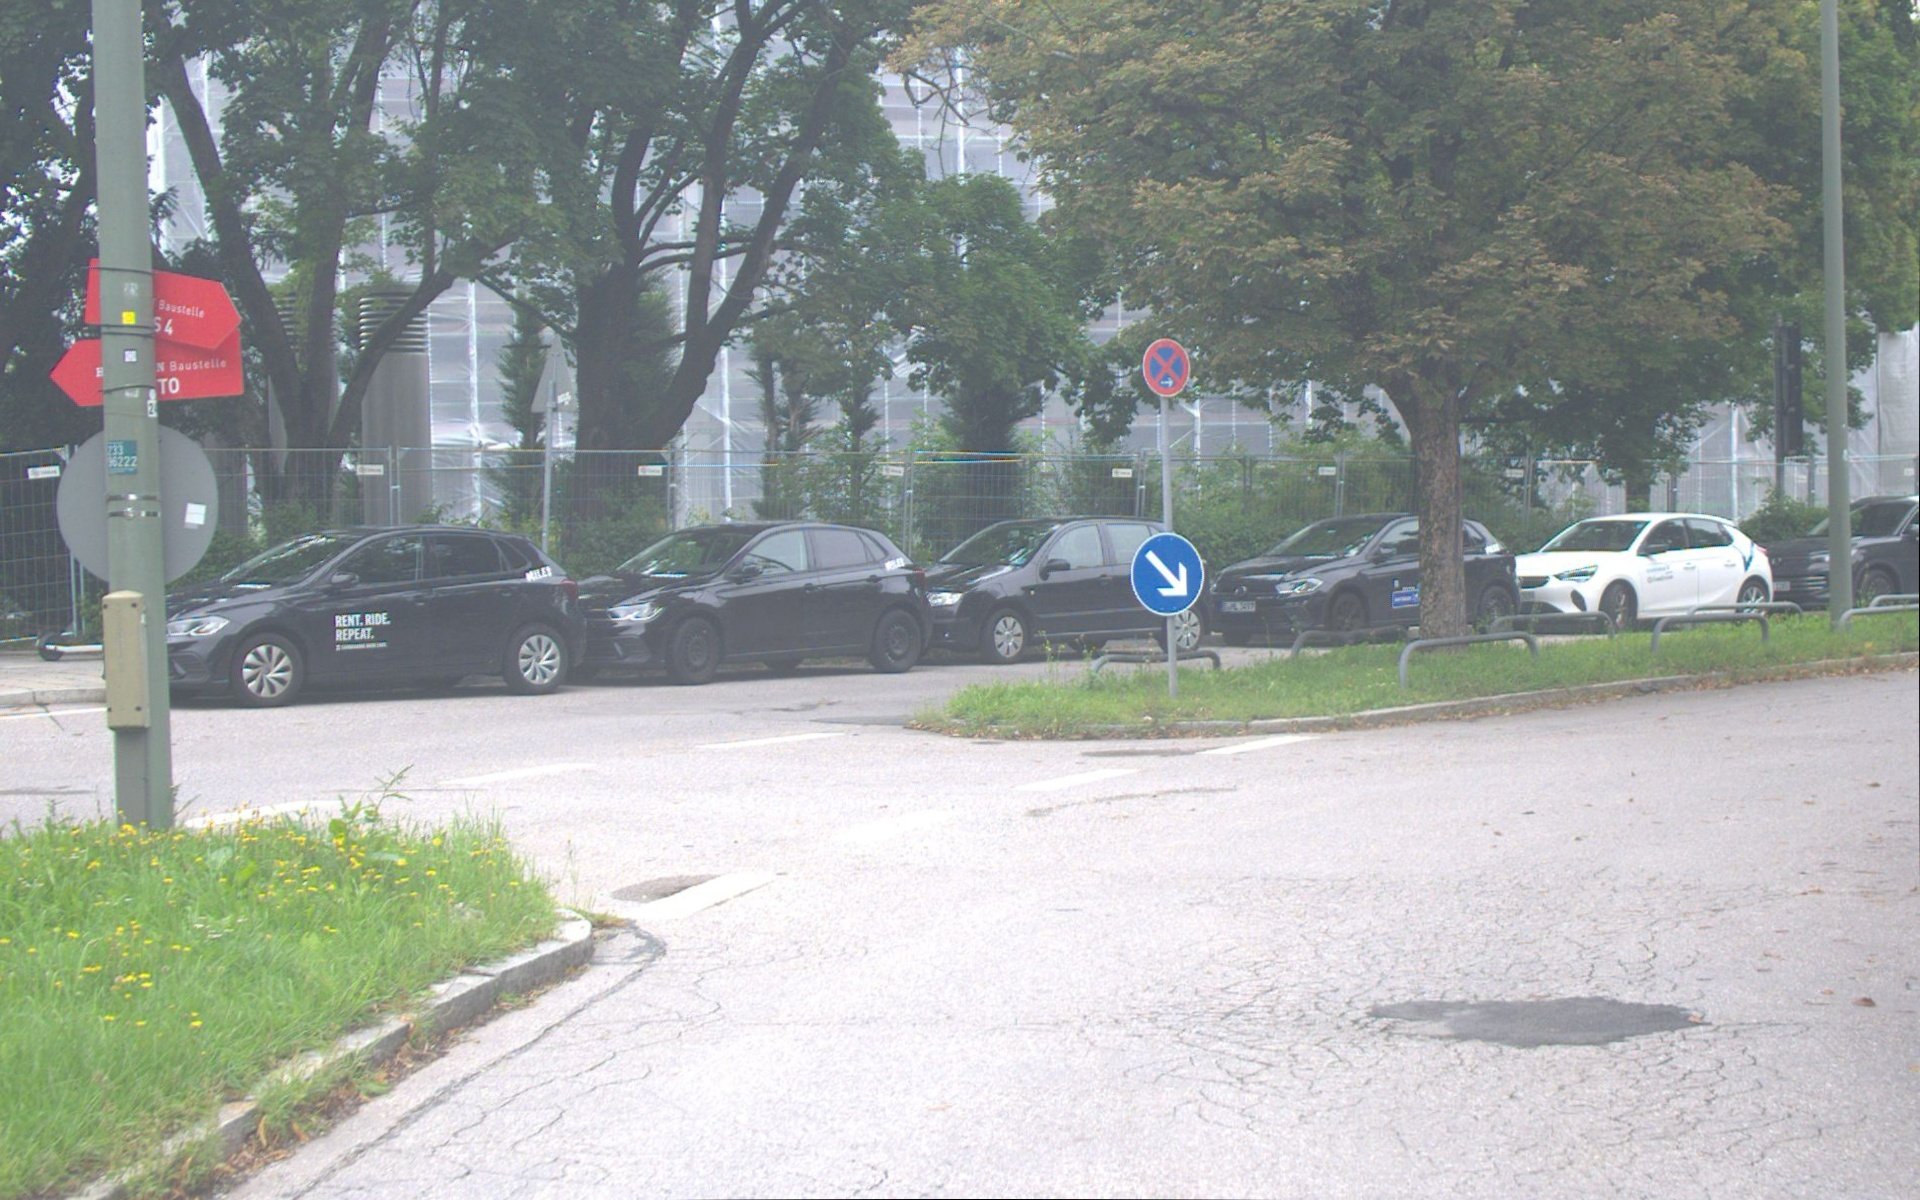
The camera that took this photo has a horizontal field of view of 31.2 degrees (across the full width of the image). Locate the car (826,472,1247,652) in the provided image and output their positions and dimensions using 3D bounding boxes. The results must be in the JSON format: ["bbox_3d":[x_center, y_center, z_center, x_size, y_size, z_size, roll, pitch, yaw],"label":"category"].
[{"bbox_3d":[0.821,-0.414,34.905,3.989,1.700,1.999,-2,2,-43],"label":"car"}]

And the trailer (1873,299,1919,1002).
[{"bbox_3d":[3.420,0.172,8.518,1.809,2.007,4.832,-1,1,10],"label":"trailer"}]

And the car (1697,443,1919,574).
[{"bbox_3d":[11.683,-1.133,43.877,4.382,1.600,1.892,0,0,-32],"label":"car"}]

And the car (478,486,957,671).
[{"bbox_3d":[-2.178,-0.234,31.500,3.989,1.535,1.999,-3,2,-43],"label":"car"}]

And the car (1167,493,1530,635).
[{"bbox_3d":[4.354,-0.422,38.174,3.995,1.456,1.839,-2,2,-43],"label":"car"}]

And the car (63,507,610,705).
[{"bbox_3d":[-5.135,-0.012,28.615,4.032,1.427,1.999,-3,4,-43],"label":"car"}]

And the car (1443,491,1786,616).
[{"bbox_3d":[7.898,-0.572,41.315,4.206,1.379,1.801,-2,2,-41],"label":"car"}]
